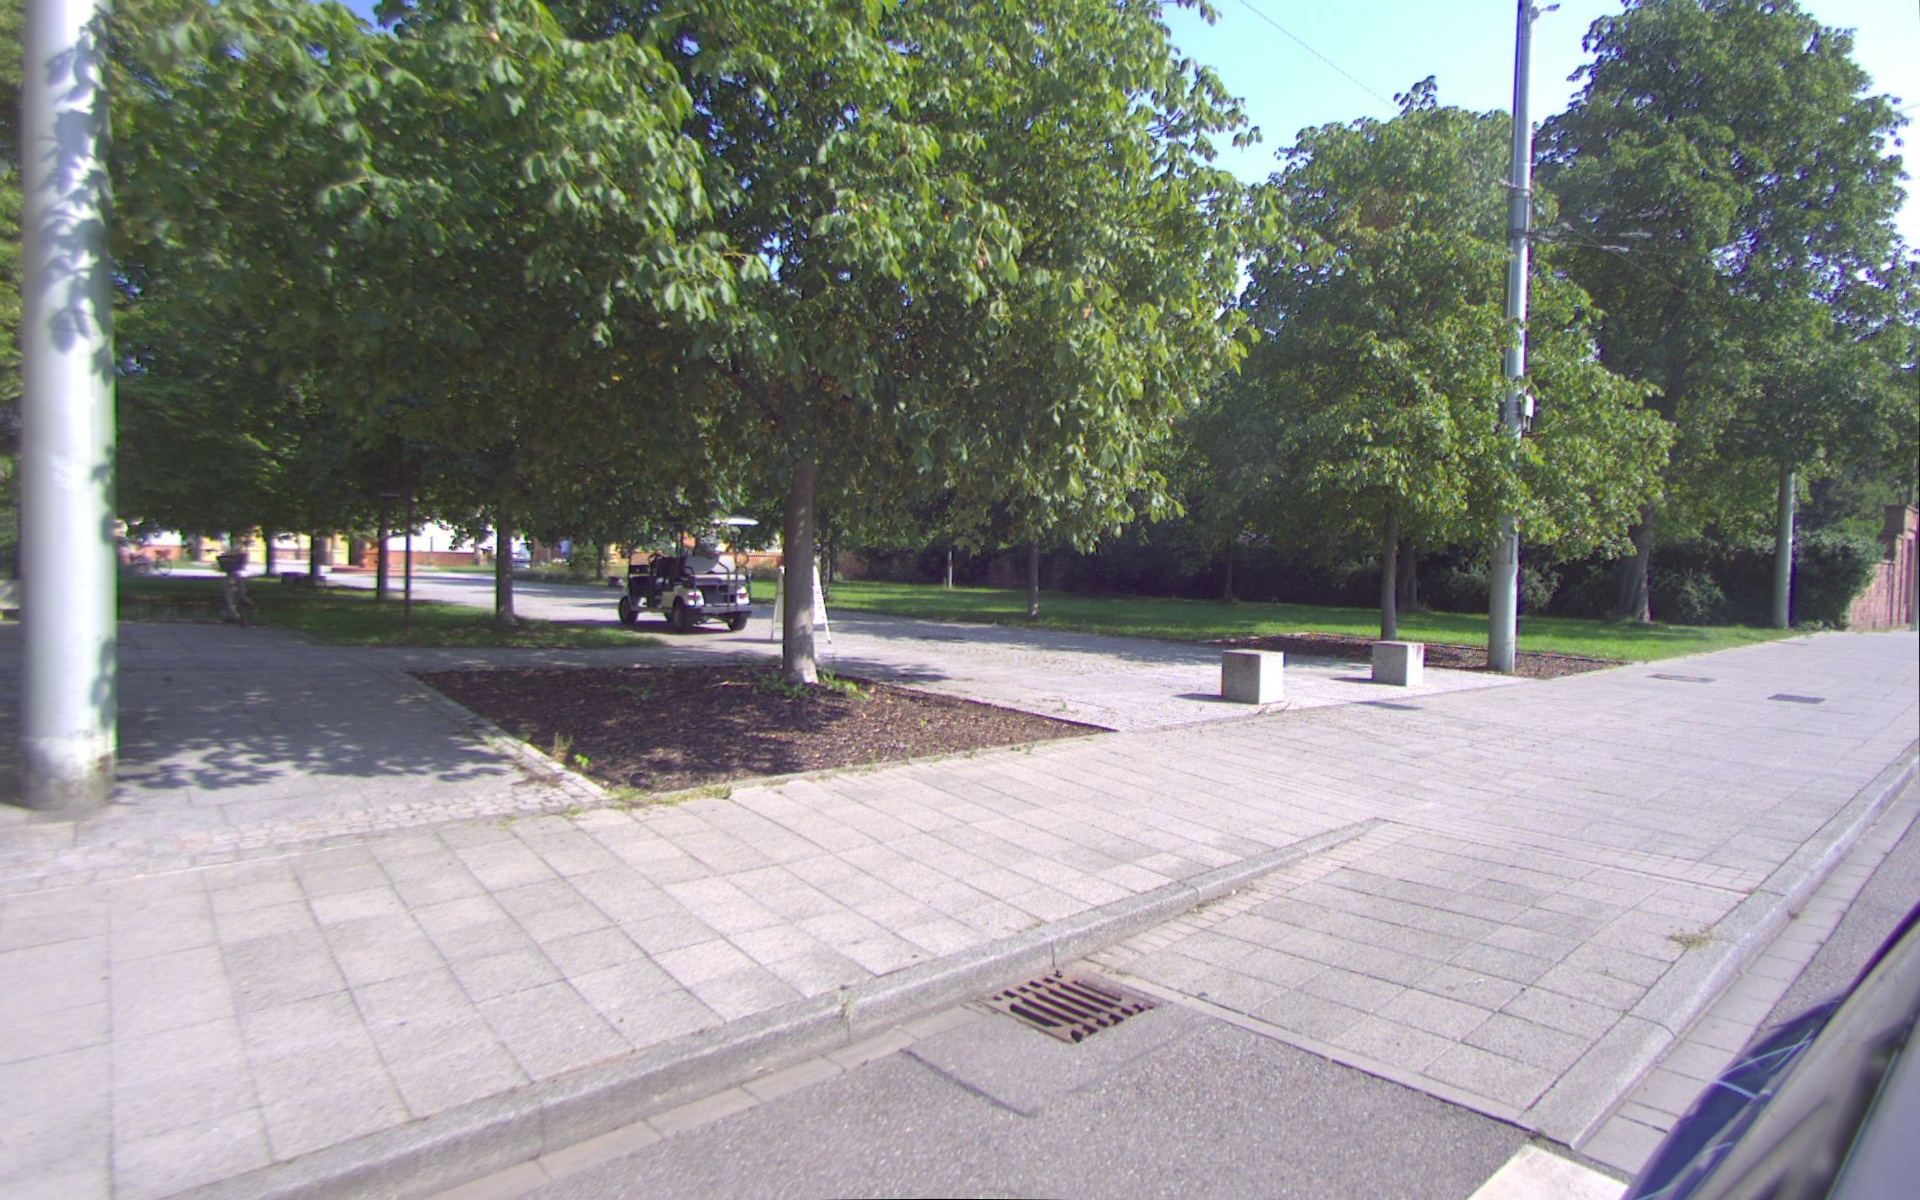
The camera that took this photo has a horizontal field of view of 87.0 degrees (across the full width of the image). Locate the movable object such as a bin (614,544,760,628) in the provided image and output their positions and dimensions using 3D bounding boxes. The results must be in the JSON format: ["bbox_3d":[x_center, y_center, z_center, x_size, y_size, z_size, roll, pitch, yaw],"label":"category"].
[{"bbox_3d":[-4.882,-0.297,17.892,1.278,1.314,3.112,-1,4,-41],"label":"movable object such as a bin"}]

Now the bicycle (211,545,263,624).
[{"bbox_3d":[-9.759,-0.233,13.639,0.419,0.992,1.908,0,2,-40],"label":"bicycle"}]
